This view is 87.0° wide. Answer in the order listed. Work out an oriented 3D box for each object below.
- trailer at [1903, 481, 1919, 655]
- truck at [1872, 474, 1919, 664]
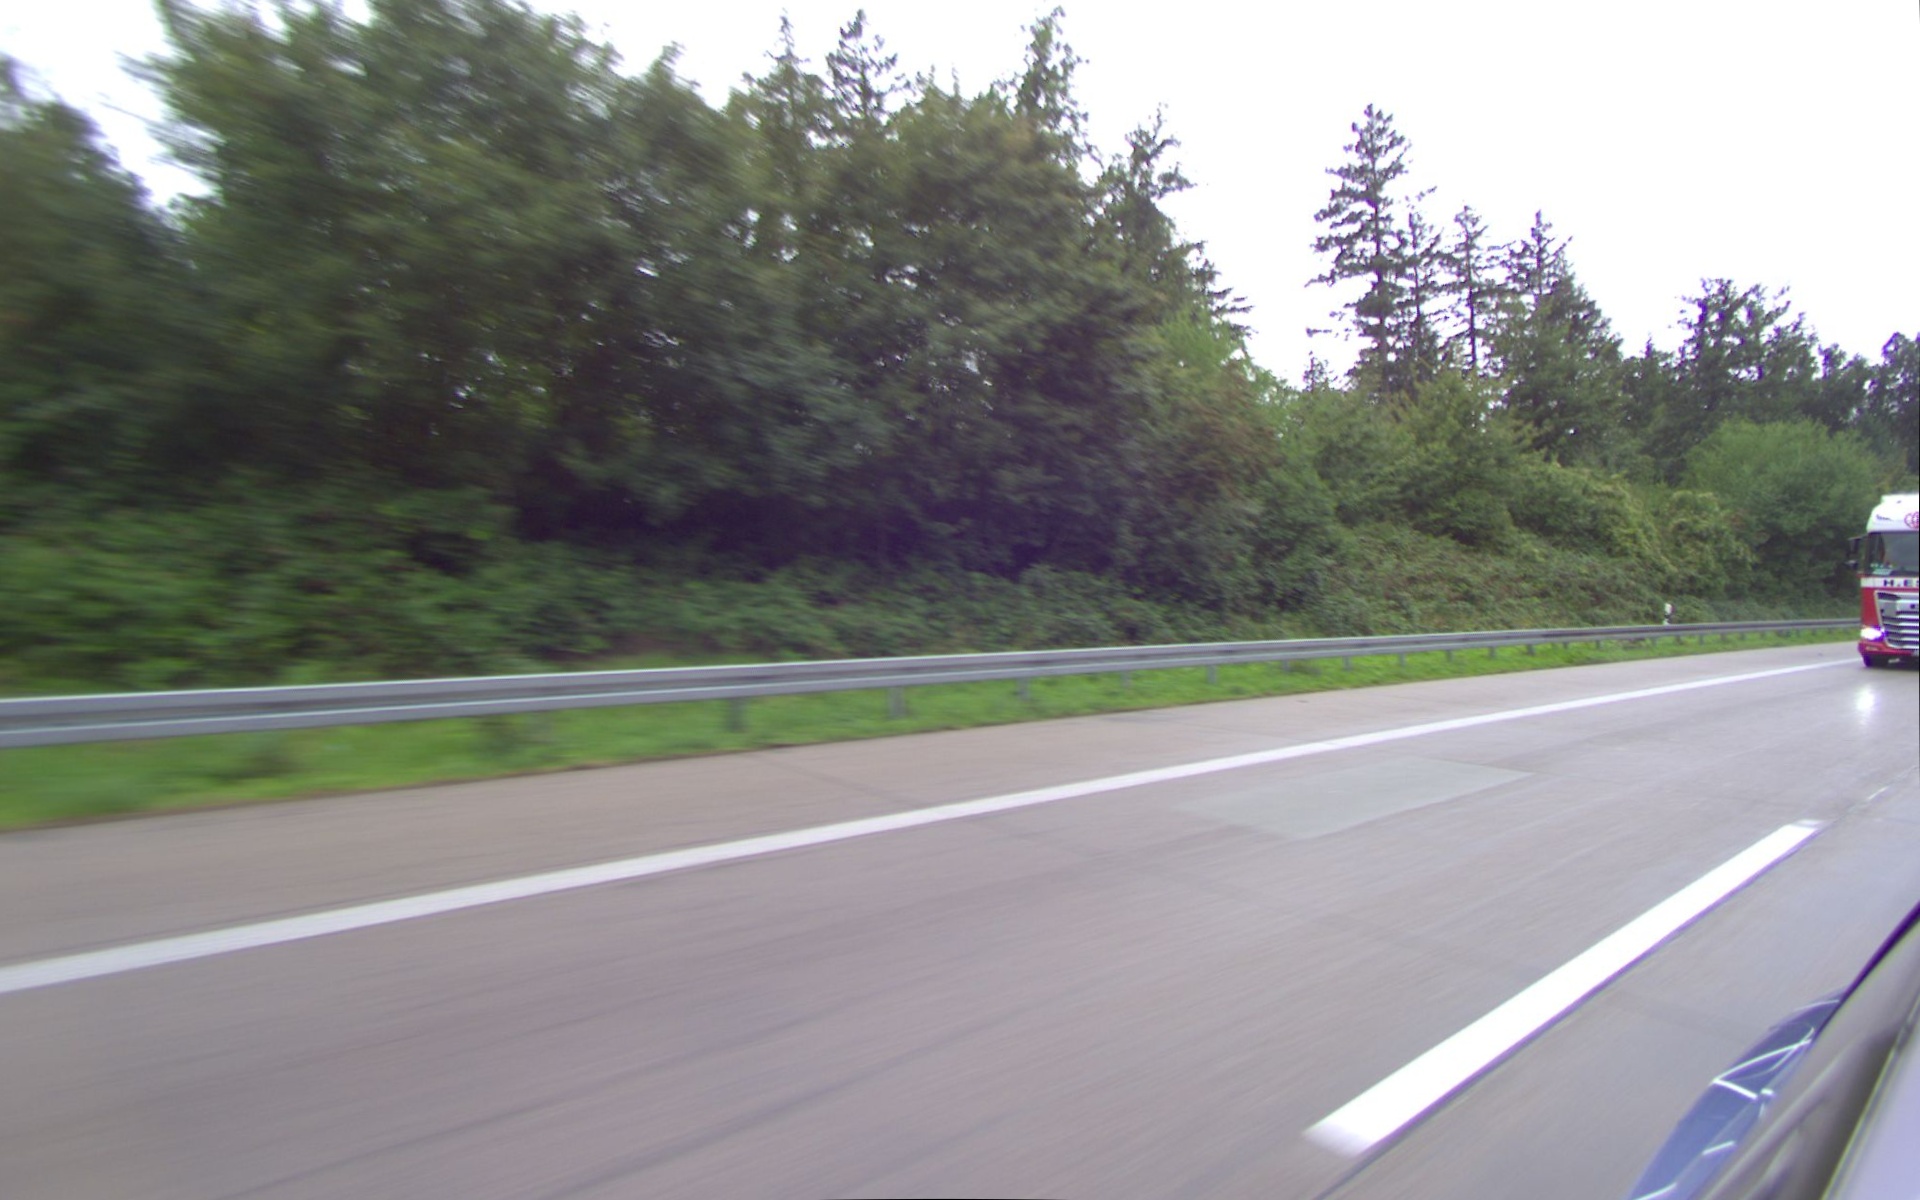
[{"bbox_3d":[27.563,-0.707,26.342,12.288,4.004,2.377,0,-1,-37],"label":"trailer"},{"bbox_3d":[22.889,-0.645,22.868,6.047,4.004,2.381,0,0,-38],"label":"truck"}]
